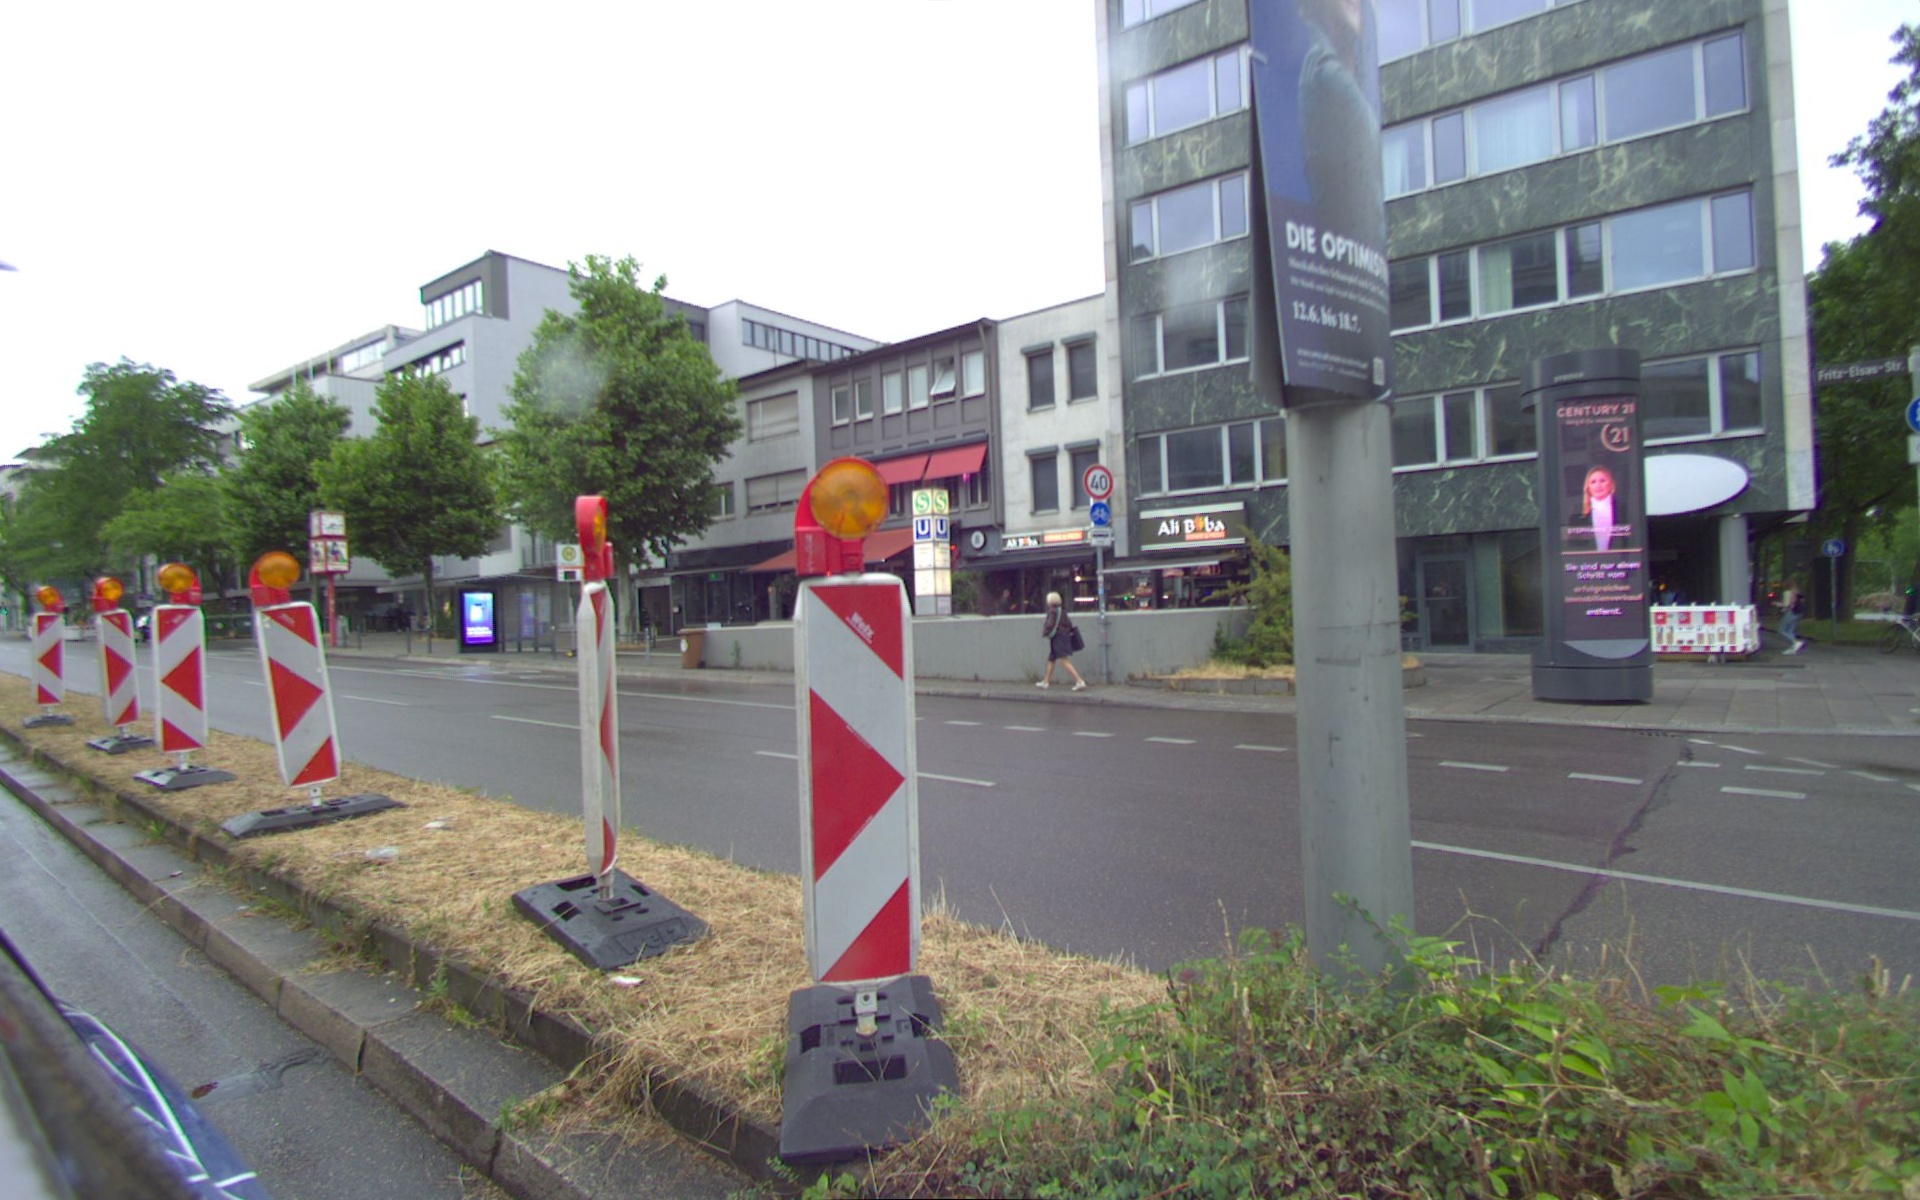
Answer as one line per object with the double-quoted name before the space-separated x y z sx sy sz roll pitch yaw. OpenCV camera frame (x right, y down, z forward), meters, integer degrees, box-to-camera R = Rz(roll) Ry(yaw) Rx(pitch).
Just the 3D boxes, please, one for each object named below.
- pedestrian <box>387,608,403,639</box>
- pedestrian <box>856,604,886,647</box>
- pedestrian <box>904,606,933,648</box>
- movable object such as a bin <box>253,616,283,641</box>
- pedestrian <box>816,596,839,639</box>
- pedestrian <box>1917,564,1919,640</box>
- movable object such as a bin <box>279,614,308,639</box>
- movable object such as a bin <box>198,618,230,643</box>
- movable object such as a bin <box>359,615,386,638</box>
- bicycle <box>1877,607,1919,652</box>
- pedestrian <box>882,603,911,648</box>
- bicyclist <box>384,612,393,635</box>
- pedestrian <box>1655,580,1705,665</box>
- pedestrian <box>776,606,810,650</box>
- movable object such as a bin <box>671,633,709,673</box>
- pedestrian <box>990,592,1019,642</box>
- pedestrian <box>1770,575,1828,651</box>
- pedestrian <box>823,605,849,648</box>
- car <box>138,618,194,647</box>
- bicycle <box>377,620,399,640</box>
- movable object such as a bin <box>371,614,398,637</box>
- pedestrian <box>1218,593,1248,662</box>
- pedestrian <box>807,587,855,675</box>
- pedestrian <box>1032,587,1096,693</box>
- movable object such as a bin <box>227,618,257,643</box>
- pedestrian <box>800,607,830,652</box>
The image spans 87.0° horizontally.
"pedestrian" -32.598 1.371 58.389 0.653 1.776 0.688 -1 -1 43
"pedestrian" -3.032 0.860 34.347 0.690 1.461 0.720 -2 -1 34
"pedestrian" -1.353 0.875 32.868 0.690 1.354 0.627 -2 -1 34
"movable object such as a bin" -42.486 1.746 62.139 1.088 1.437 1.265 -2 -1 41
"pedestrian" -4.896 0.652 37.369 0.603 1.582 0.591 -1 -1 31
"pedestrian" 19.262 0.263 19.645 0.897 1.900 0.776 -2 -5 41
"movable object such as a bin" -41.595 1.671 63.193 1.088 1.499 1.265 -2 -1 41
"movable object such as a bin" -44.235 1.821 60.004 1.088 1.437 1.345 -2 -1 41
"movable object such as a bin" -39.231 1.765 67.597 1.278 1.446 1.077 -1 -1 32
"bicycle" 20.861 0.627 21.622 0.468 0.941 1.803 0 -1 -39
"pedestrian" -2.098 0.836 33.320 0.690 1.461 0.627 -2 -1 34
"bicyclist" -35.868 1.468 63.473 0.418 1.412 0.408 0 -1 -44
"pedestrian" 16.496 0.536 23.177 0.875 1.868 1.012 -2 -5 37
"pedestrian" -5.642 0.928 34.188 0.912 1.461 0.683 -2 -1 37
"movable object such as a bin" -6.273 1.226 23.537 0.680 0.904 0.527 -1 -2 32
"pedestrian" 1.324 0.492 30.099 0.587 1.461 0.597 -2 -1 36
"pedestrian" 18.471 0.305 22.278 0.922 1.597 0.822 -2 -5 41
"pedestrian" -4.340 0.926 35.412 0.546 1.461 0.683 -2 -1 37
"car" -48.039 1.960 61.217 4.019 1.648 1.761 -2 -1 38
"bicycle" -35.862 1.860 63.465 1.132 1.233 0.405 0 -1 -43
"movable object such as a bin" -37.945 1.682 66.741 1.278 1.446 1.077 -1 -1 32
"pedestrian" 7.640 0.764 28.315 0.590 1.899 0.749 -2 -1 34
"pedestrian" -2.829 0.665 22.237 0.757 1.899 0.683 -2 -1 37
"pedestrian" 1.686 0.641 16.421 0.757 1.665 0.683 -2 -1 37
"movable object such as a bin" -43.323 1.828 61.096 1.088 1.437 1.265 -2 -1 41
"pedestrian" -4.811 0.977 33.569 0.706 1.461 0.683 -2 -1 37
